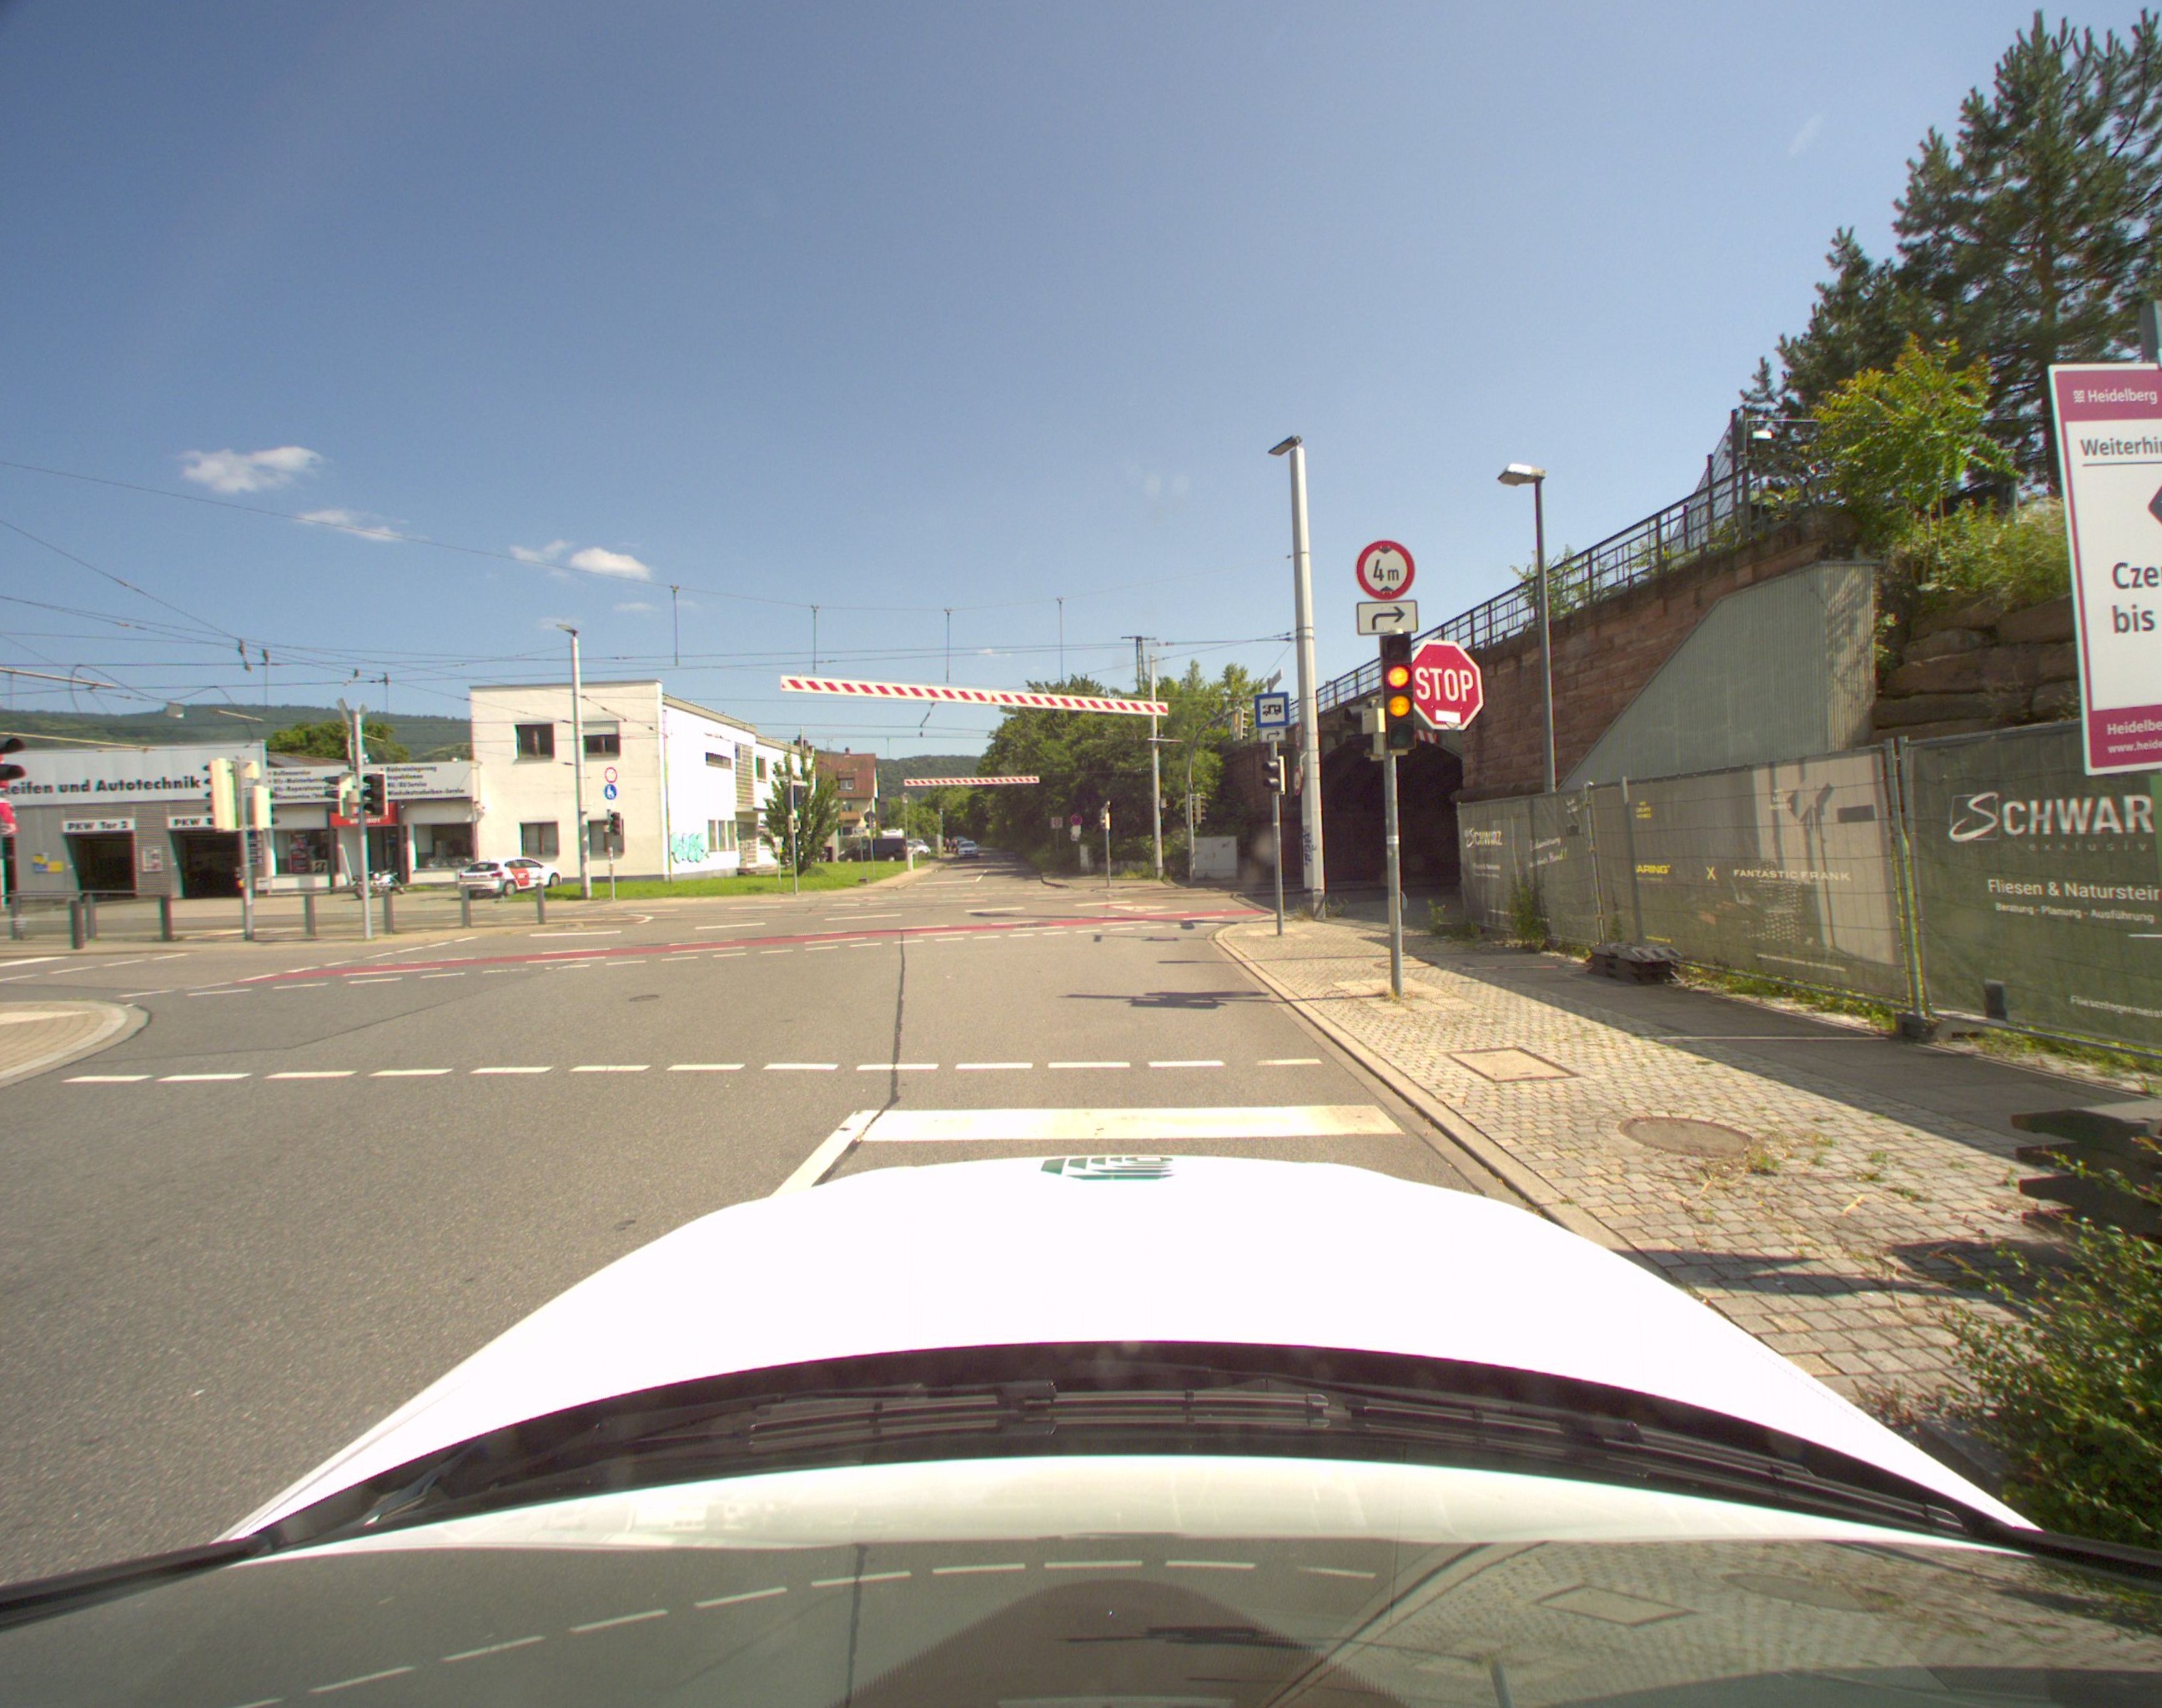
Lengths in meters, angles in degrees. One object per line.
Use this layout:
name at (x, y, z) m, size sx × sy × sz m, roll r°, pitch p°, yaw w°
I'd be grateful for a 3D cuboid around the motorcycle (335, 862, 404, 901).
motorcycle at (-28.306, 1.074, 32.448) m, size 0.726 × 1.308 × 2.191 m, roll -2°, pitch 4°, yaw 0°

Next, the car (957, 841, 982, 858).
car at (-10.009, -0.418, 73.162) m, size 2.084 × 1.510 × 4.530 m, roll 0°, pitch 1°, yaw -6°

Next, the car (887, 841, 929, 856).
car at (-16.108, -0.536, 75.986) m, size 3.715 × 1.371 × 1.601 m, roll 0°, pitch -1°, yaw -6°

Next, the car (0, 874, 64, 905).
car at (-52.564, 1.751, 39.503) m, size 1.716 × 1.376 × 3.769 m, roll -2°, pitch 1°, yaw -4°

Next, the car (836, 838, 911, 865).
car at (-15.669, -0.200, 61.746) m, size 5.245 × 1.816 × 1.995 m, roll -3°, pitch 1°, yaw -8°

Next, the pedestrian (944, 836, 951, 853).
pedestrian at (-13.790, -0.986, 84.381) m, size 0.653 × 1.763 × 0.802 m, roll 0°, pitch -1°, yaw -7°

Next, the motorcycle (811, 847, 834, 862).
motorcycle at (-17.630, 0.053, 55.526) m, size 0.850 × 1.032 × 2.564 m, roll 0°, pitch -1°, yaw -3°

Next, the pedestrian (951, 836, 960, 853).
pedestrian at (-12.954, -0.977, 84.324) m, size 0.875 × 1.763 × 0.729 m, roll 0°, pitch -1°, yaw -7°

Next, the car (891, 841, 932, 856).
car at (-16.295, -0.530, 78.411) m, size 3.715 × 1.371 × 1.601 m, roll 0°, pitch 0°, yaw -6°

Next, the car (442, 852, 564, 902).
car at (-22.655, 0.850, 32.137) m, size 1.878 × 1.462 × 4.001 m, roll -2°, pitch 4°, yaw -1°
